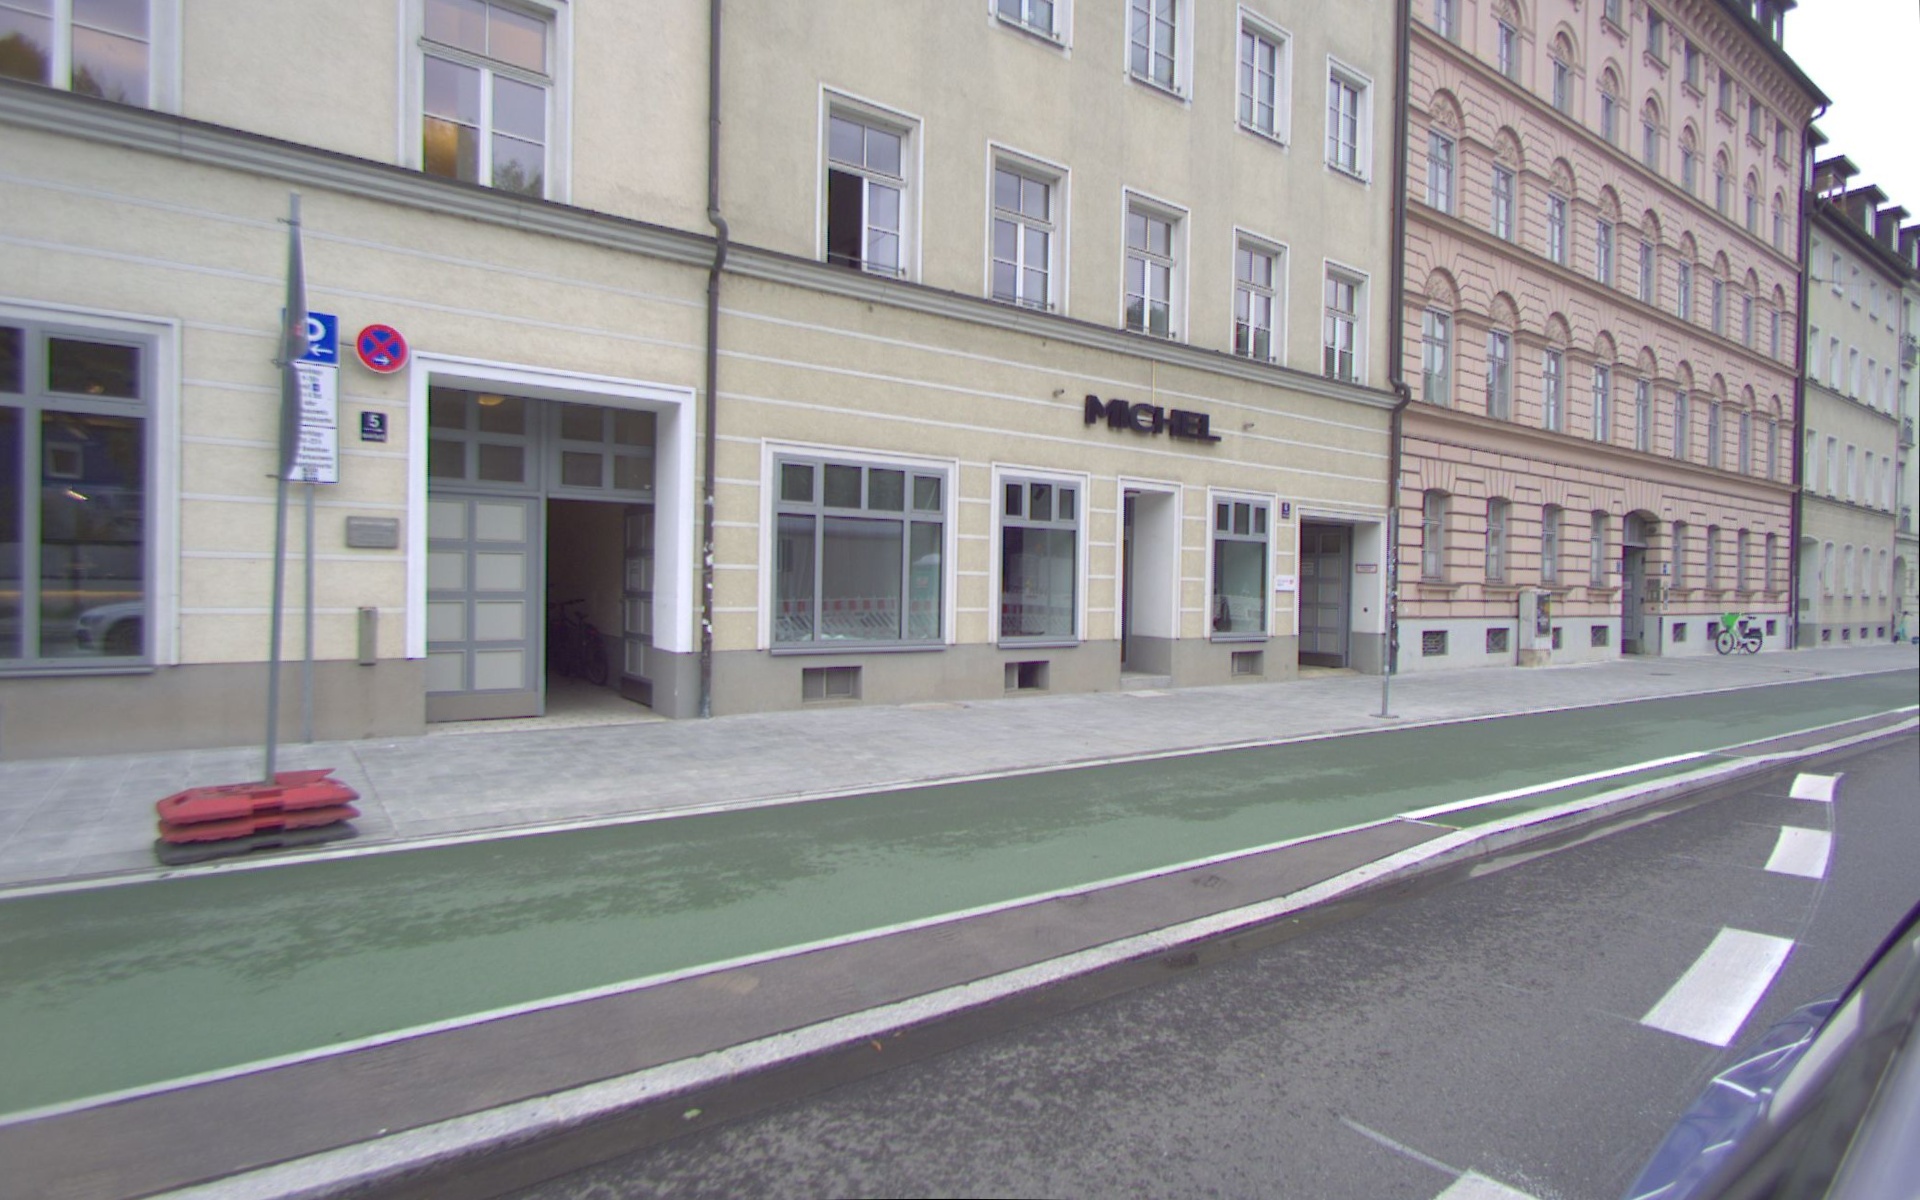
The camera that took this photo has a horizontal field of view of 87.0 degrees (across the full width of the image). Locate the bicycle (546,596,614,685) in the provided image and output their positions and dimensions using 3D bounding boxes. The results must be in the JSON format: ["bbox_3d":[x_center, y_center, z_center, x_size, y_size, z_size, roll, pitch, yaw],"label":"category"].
[{"bbox_3d":[-5.065,0.504,13.443,0.301,1.068,1.625,1,1,-40],"label":"bicycle"}]

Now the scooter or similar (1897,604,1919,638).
[{"bbox_3d":[35.990,0.806,38.206,1.096,1.246,0.248,1,2,-10],"label":"scooter or similar"}]

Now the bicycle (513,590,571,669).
[{"bbox_3d":[-6.199,0.406,14.972,0.301,1.068,1.625,1,1,-40],"label":"bicycle"}]

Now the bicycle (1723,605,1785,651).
[{"bbox_3d":[21.531,0.759,27.428,1.695,1.189,0.428,1,1,-18],"label":"bicycle"}]
